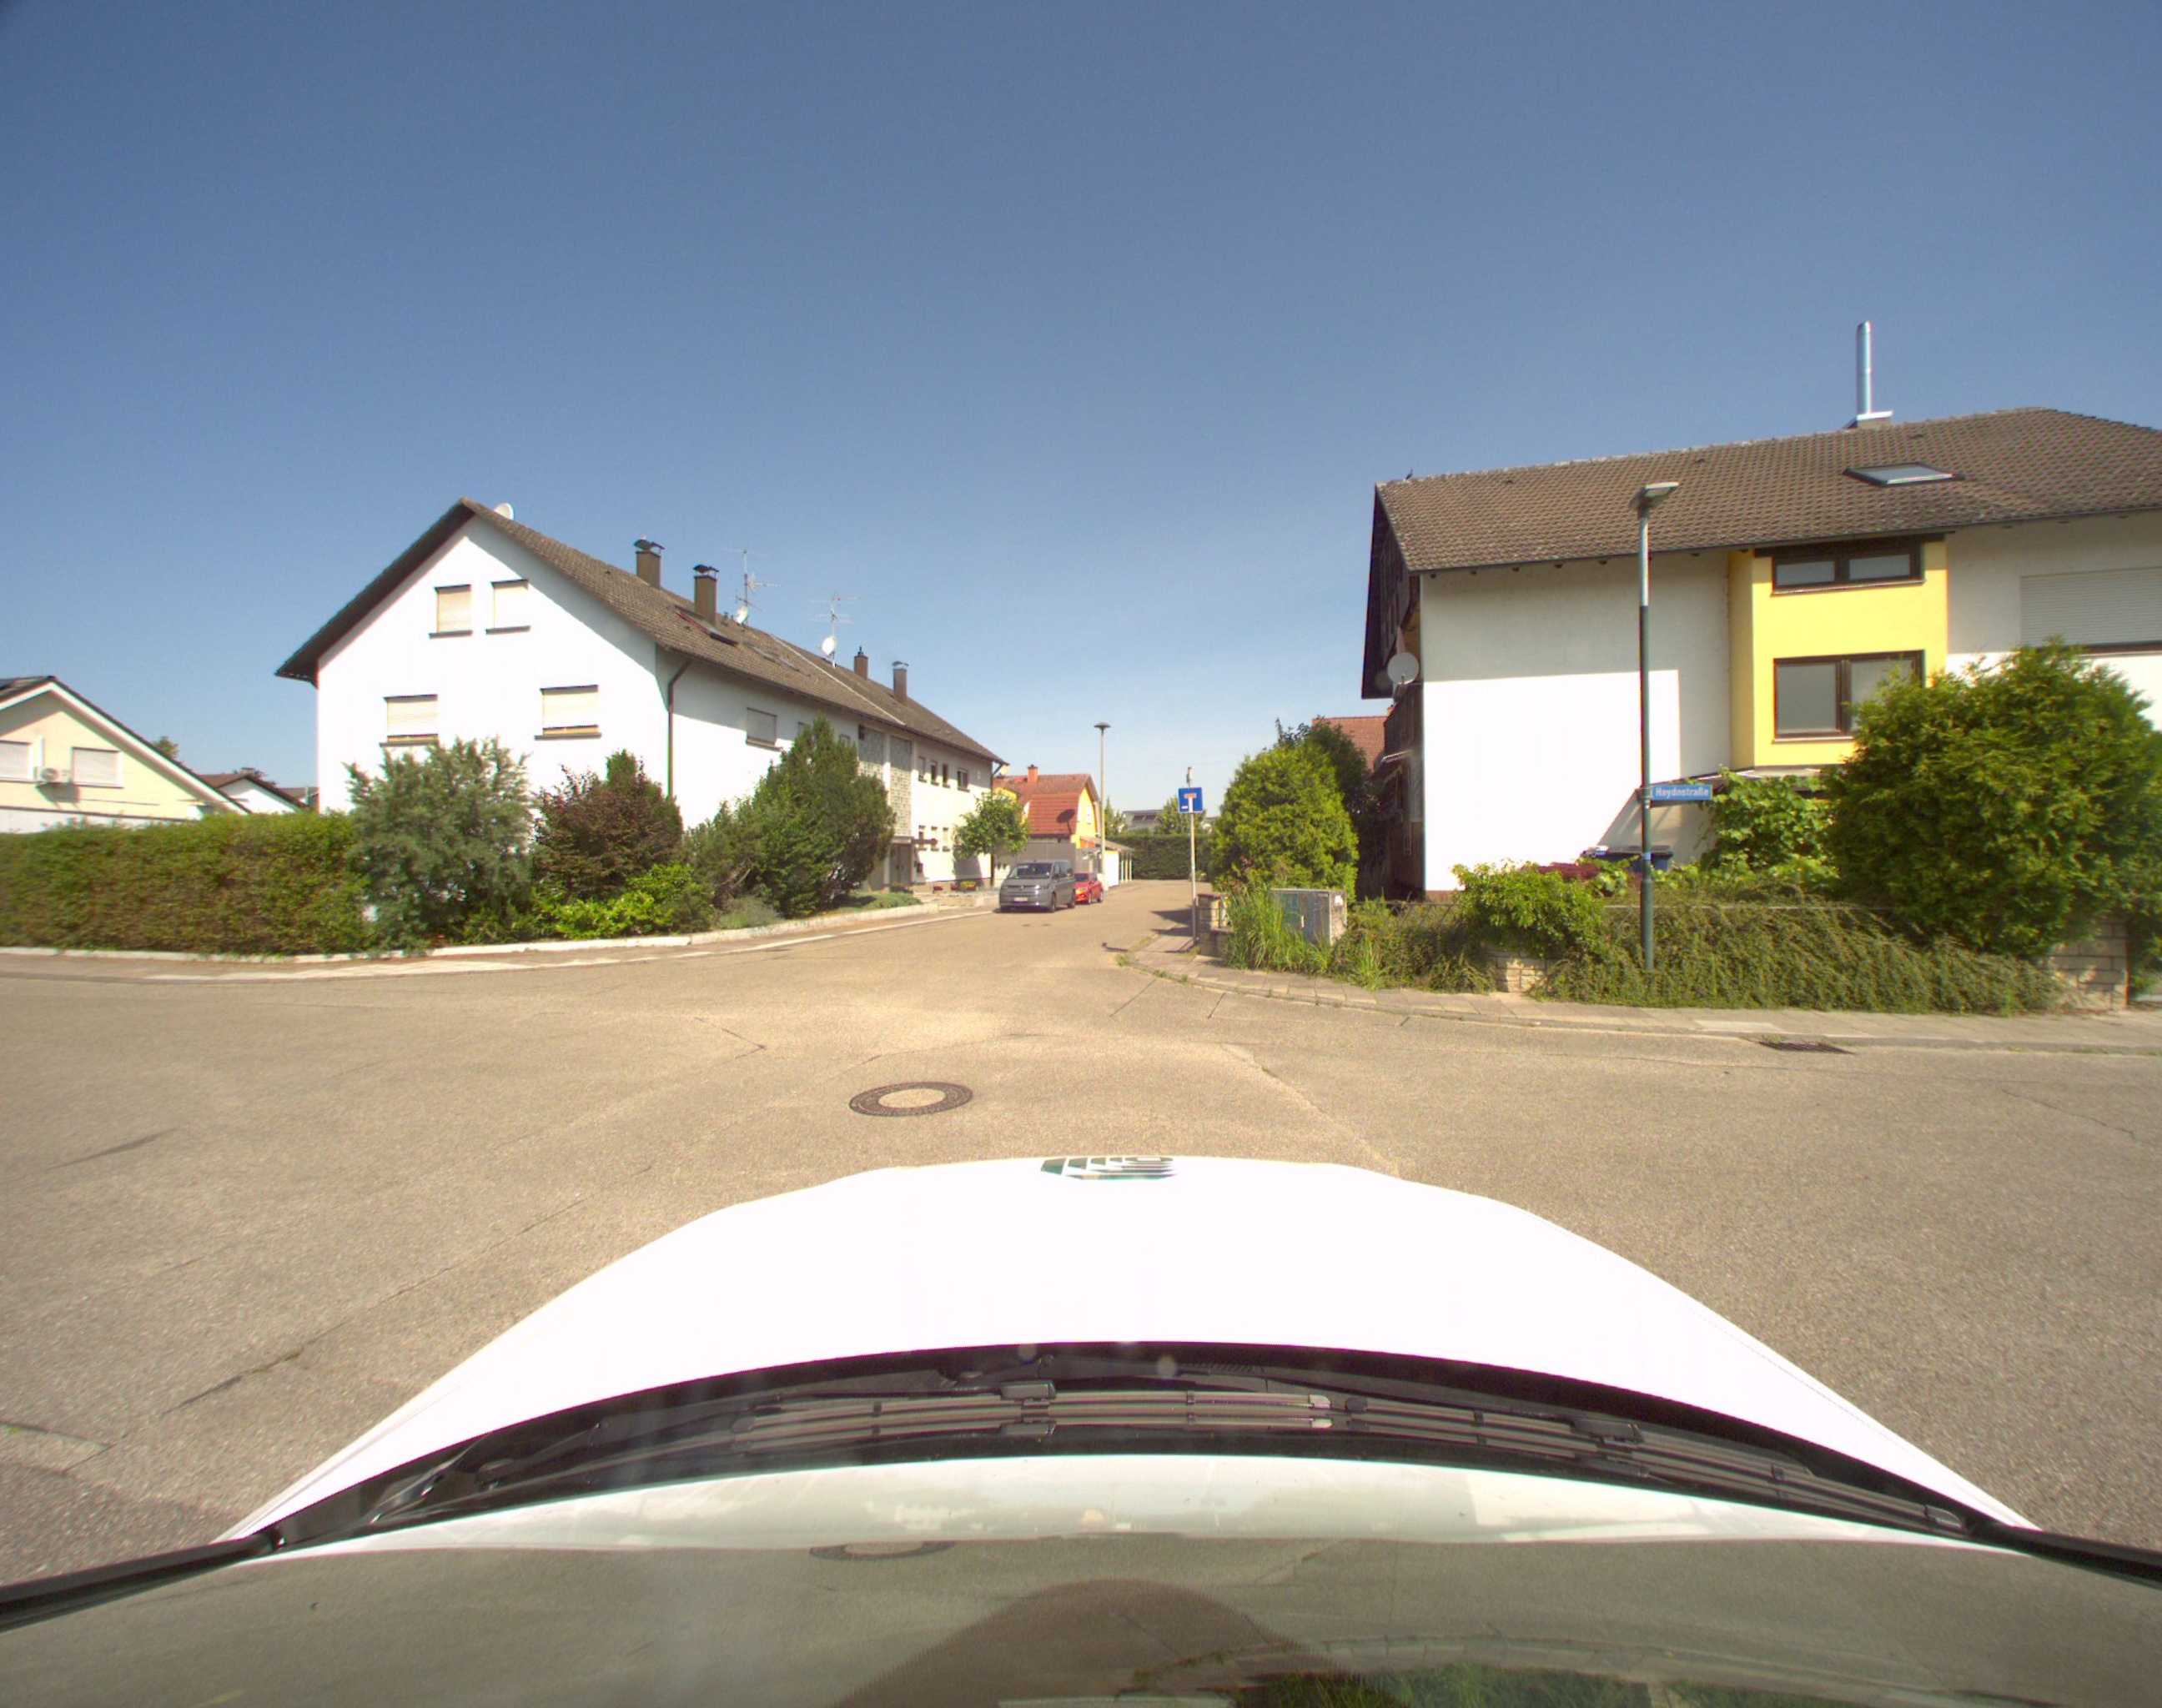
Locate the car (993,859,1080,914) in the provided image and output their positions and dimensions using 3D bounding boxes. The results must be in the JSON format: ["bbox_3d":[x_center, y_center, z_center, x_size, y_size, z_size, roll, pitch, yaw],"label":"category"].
[{"bbox_3d":[-1.552,1.136,30.224,1.887,1.870,4.388,-2,-1,15],"label":"car"}]

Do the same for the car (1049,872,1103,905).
[{"bbox_3d":[-0.153,1.519,36.583,1.641,1.365,3.791,-1,-1,12],"label":"car"}]
